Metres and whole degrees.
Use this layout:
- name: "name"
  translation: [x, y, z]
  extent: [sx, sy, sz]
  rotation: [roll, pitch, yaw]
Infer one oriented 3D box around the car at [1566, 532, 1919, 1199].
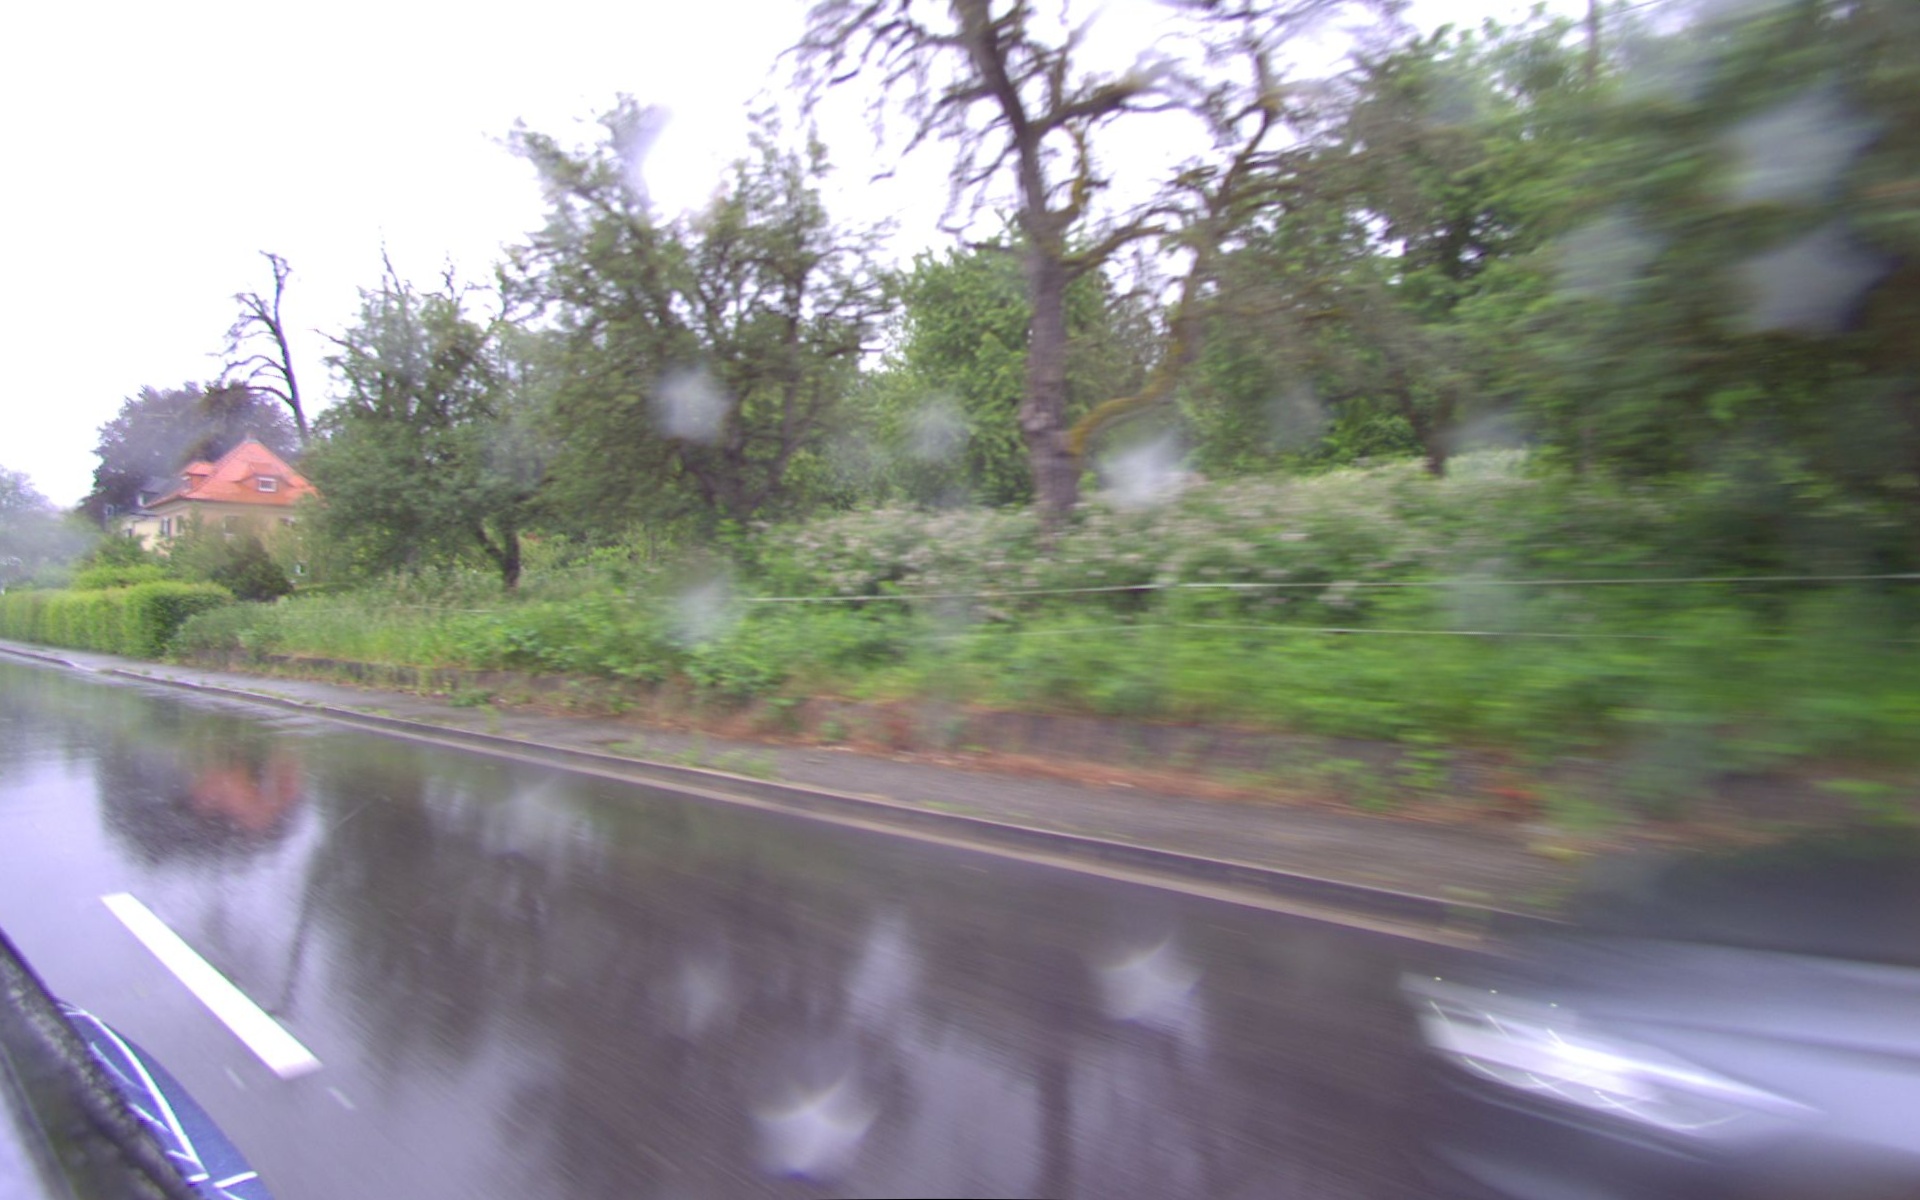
- name: "car"
  translation: [3.244, 0.588, 0.823]
  extent: [4.426, 1.465, 1.973]
  rotation: [-2, -1, 41]
